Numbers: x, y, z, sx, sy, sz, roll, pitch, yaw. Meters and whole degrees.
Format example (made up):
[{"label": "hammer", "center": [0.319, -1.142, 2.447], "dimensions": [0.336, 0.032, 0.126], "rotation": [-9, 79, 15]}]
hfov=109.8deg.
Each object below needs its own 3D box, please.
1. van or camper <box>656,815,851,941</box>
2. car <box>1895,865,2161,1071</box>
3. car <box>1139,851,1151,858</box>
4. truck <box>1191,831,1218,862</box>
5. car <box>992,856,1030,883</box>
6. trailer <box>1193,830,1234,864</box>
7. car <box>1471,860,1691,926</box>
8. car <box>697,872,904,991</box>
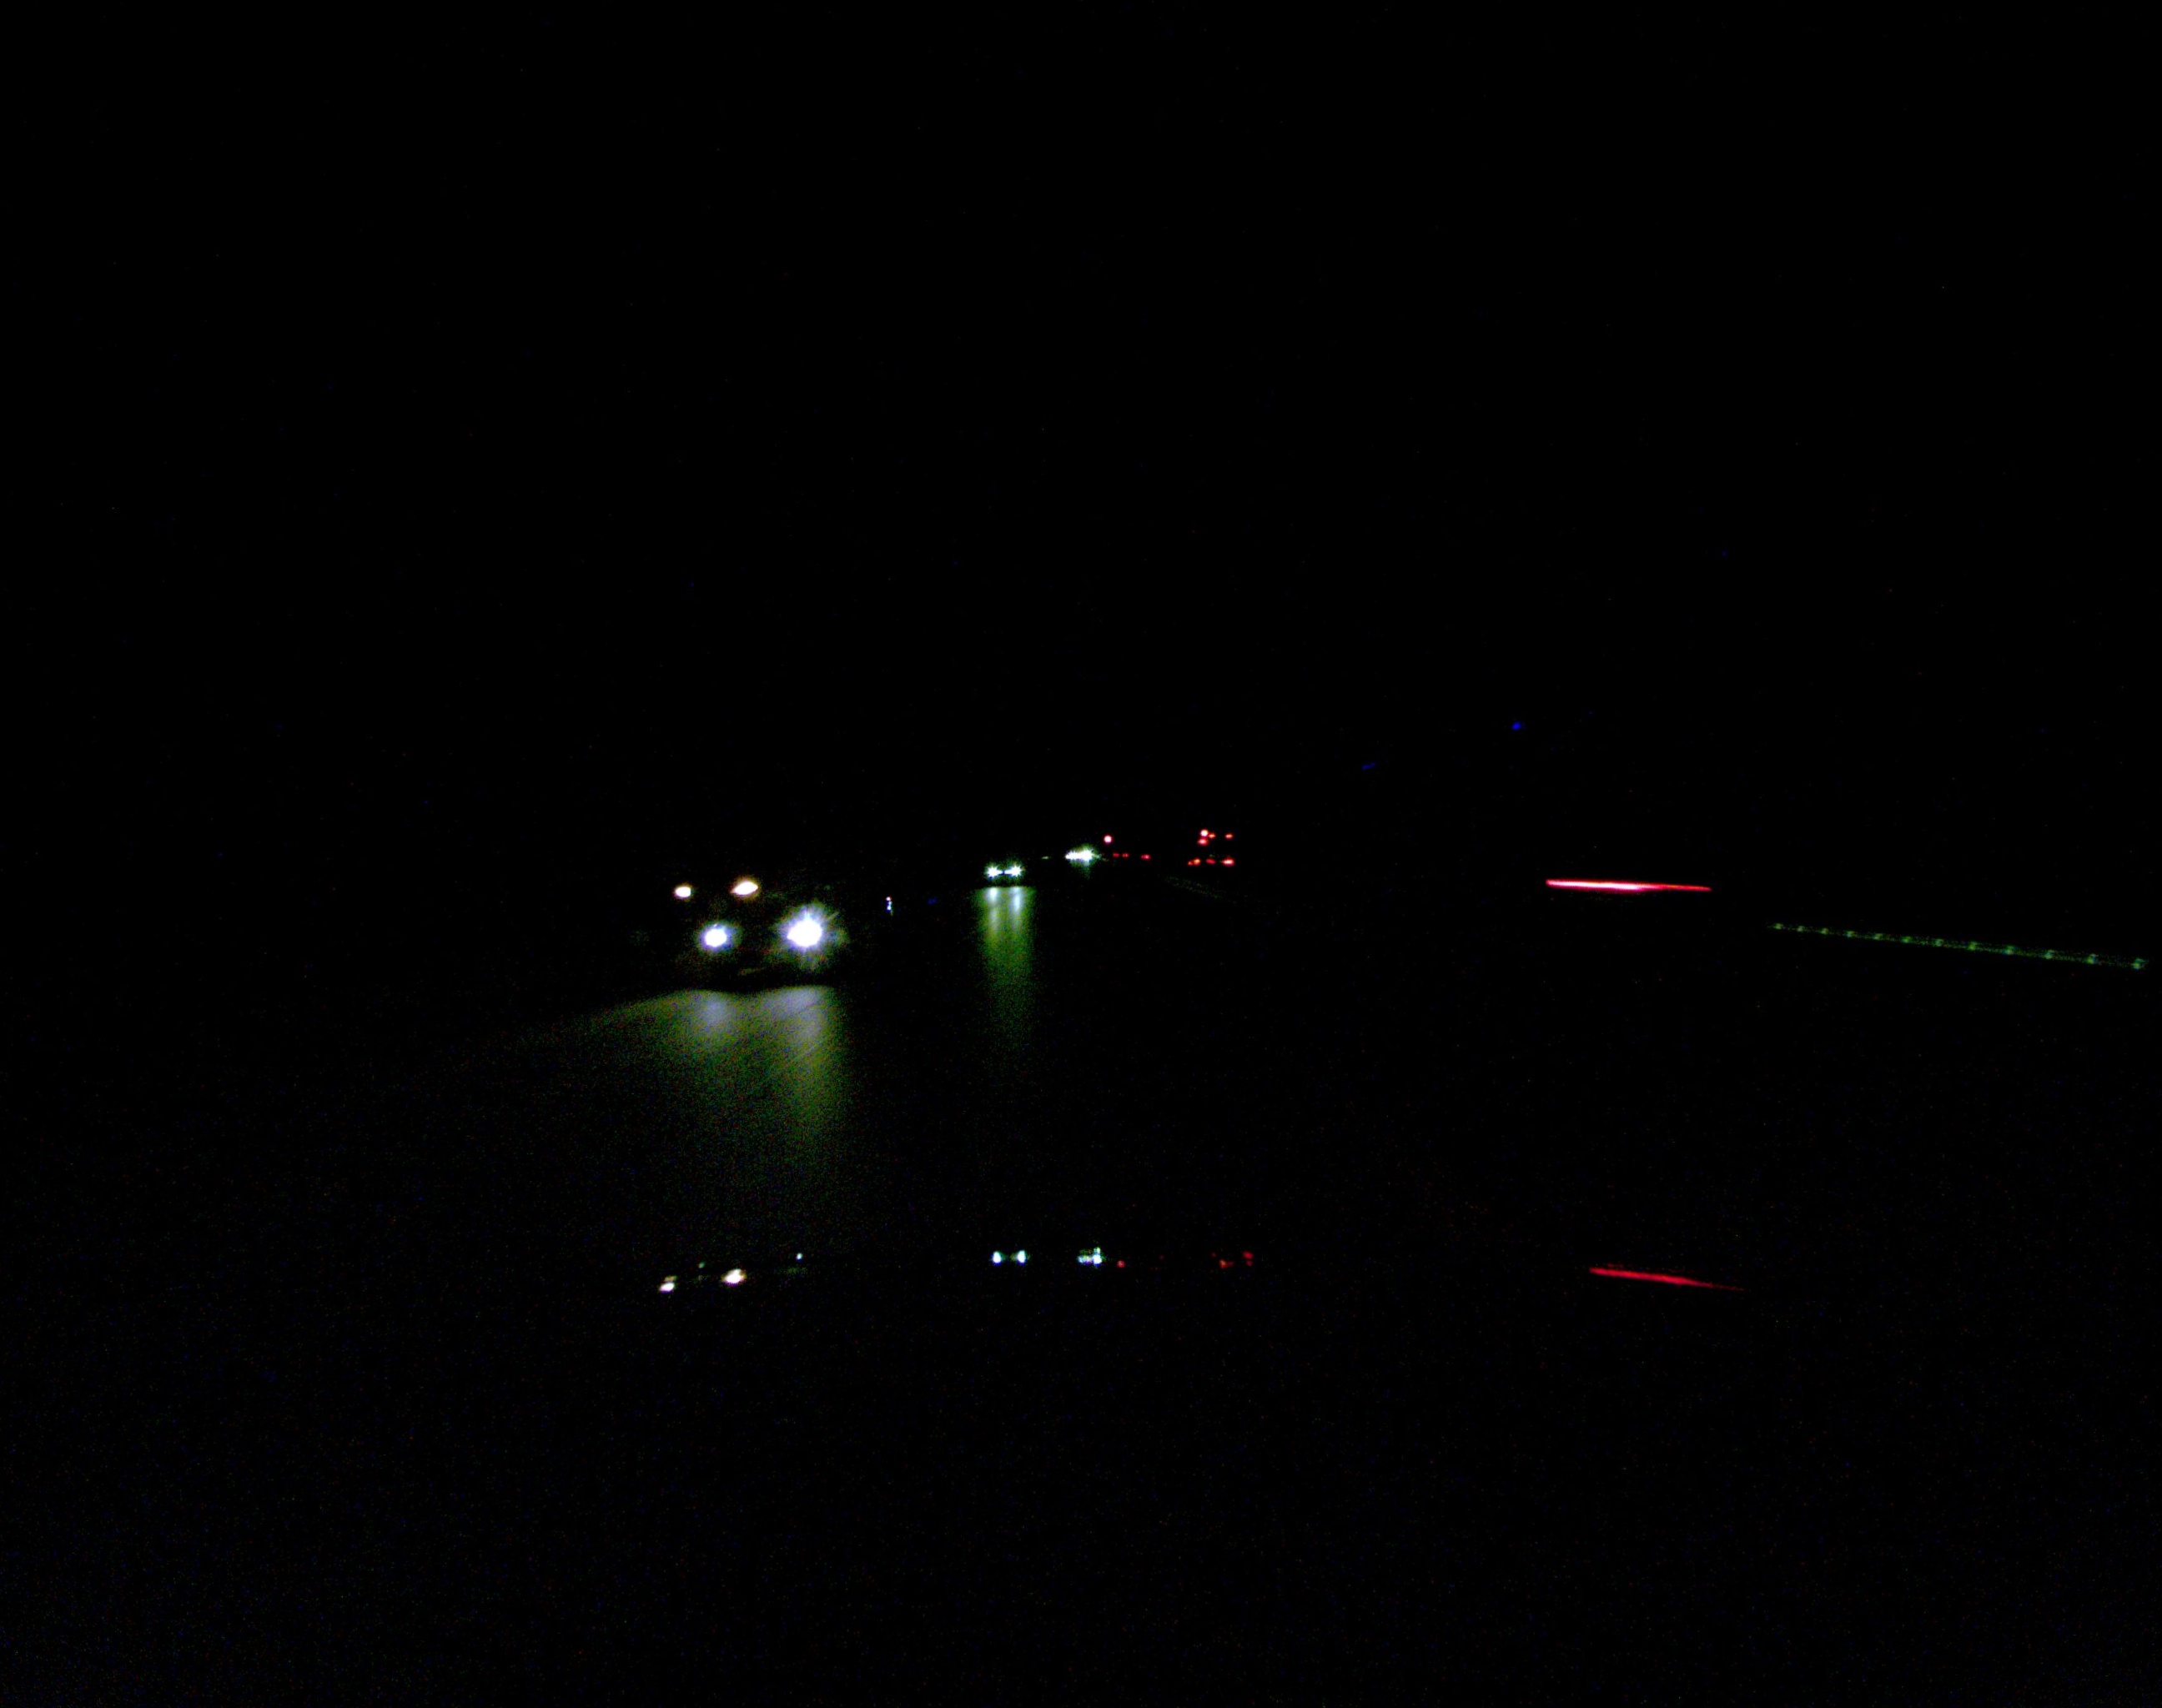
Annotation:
[{"label": "van or camper", "center": [-8.363, 0.528, 20.445], "dimensions": [2.212, 2.755, 6.803], "rotation": [-2, 0, 0]}, {"label": "car", "center": [8.789, 0.858, 4.826], "dimensions": [1.998, 1.453, 4.900], "rotation": [1, 0, 1]}, {"label": "car", "center": [14.155, 0.058, 167.756], "dimensions": [1.999, 1.453, 4.690], "rotation": [1, 1, -2]}, {"label": "truck", "center": [17.348, -1.040, 107.120], "dimensions": [2.761, 4.188, 5.825], "rotation": [1, 1, 0]}, {"label": "car", "center": [-4.199, 0.901, 46.125], "dimensions": [1.795, 1.532, 4.225], "rotation": [-1, 0, 1]}, {"label": "trailer", "center": [17.322, -0.968, 100.332], "dimensions": [2.867, 4.152, 13.902], "rotation": [1, 1, 0]}, {"label": "car", "center": [12.670, 0.902, 19.880], "dimensions": [1.998, 1.386, 5.705], "rotation": [1, 0, 0]}, {"label": "car", "center": [-4.211, 1.078, 12.192], "dimensions": [1.690, 1.405, 4.225], "rotation": [-1, 1, 1]}]
